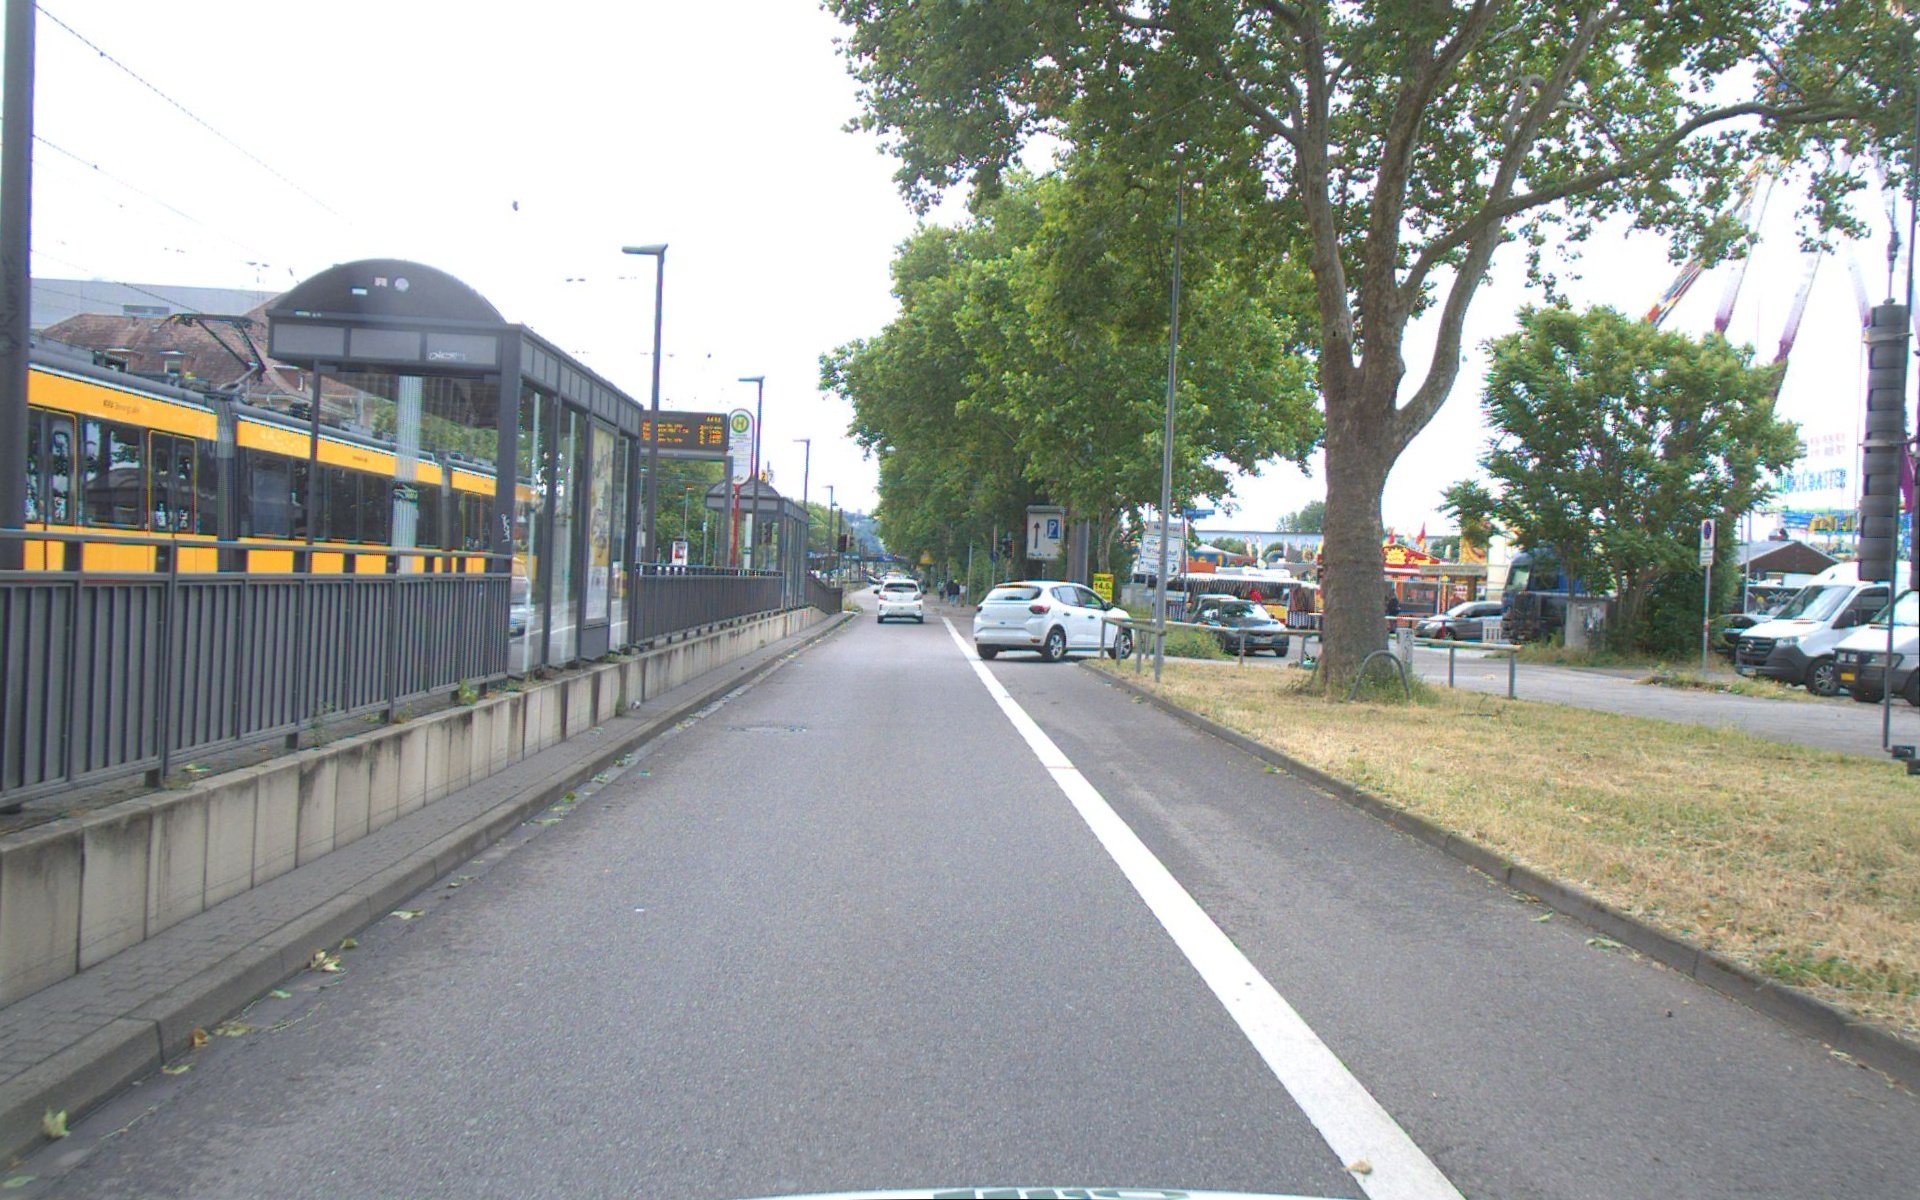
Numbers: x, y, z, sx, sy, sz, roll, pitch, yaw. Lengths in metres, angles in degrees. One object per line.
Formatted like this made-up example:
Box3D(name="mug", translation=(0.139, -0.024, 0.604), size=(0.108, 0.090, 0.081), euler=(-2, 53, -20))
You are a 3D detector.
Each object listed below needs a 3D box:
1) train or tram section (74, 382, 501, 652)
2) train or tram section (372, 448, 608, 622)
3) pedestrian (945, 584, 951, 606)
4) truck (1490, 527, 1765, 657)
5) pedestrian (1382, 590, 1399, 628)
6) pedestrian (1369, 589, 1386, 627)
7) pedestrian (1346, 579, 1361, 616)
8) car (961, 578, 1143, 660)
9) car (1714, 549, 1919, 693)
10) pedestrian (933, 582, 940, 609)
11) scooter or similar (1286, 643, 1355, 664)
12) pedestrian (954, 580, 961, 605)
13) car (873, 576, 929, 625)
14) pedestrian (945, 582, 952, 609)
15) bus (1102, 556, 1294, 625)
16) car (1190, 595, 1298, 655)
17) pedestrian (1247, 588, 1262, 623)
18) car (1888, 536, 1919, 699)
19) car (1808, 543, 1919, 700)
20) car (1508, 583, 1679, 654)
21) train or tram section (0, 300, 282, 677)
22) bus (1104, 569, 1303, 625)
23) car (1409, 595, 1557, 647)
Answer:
Box3D(name="train or tram section", translation=(-12.926, -1.373, 34.168), size=(3.116, 4.251, 14.728), euler=(2, 0, -2))
Box3D(name="train or tram section", translation=(-13.371, -1.669, 48.926), size=(3.116, 4.251, 14.728), euler=(2, 0, -2))
Box3D(name="pedestrian", translation=(-0.784, -0.319, 109.069), size=(0.388, 1.469, 0.563), euler=(2, 0, 0))
Box3D(name="truck", translation=(22.064, -0.247, 54.866), size=(8.028, 3.889, 2.598), euler=(2, 0, -4))
Box3D(name="pedestrian", translation=(19.548, 0.401, 75.071), size=(0.514, 1.716, 0.491), euler=(2, 0, -19))
Box3D(name="pedestrian", translation=(18.836, 0.366, 74.651), size=(0.514, 1.716, 0.491), euler=(2, 0, -19))
Box3D(name="pedestrian", translation=(18.509, -0.116, 77.828), size=(0.483, 1.716, 0.523), euler=(2, 0, -5))
Box3D(name="car", translation=(1.891, 0.388, 32.899), size=(1.852, 1.478, 3.989), euler=(2, 0, 33))
Box3D(name="car", translation=(18.133, 0.445, 32.240), size=(5.904, 2.600, 2.098), euler=(2, 0, -4))
Box3D(name="pedestrian", translation=(-1.754, -0.353, 124.697), size=(0.387, 2.049, 0.403), euler=(2, 0, 13))
Box3D(name="scooter or similar", translation=(7.251, 1.073, 33.235), size=(1.153, 0.355, 1.331), euler=(1, 0, 22))
Box3D(name="pedestrian", translation=(-0.145, -0.510, 109.079), size=(0.388, 1.613, 0.538), euler=(2, 0, -2))
Box3D(name="car", translation=(-2.030, -0.005, 57.675), size=(1.803, 1.579, 3.999), euler=(2, 1, -1))
Box3D(name="pedestrian", translation=(-0.879, -0.324, 124.465), size=(0.387, 2.049, 0.403), euler=(2, 0, 13))
Box3D(name="bus", translation=(11.712, -0.447, 81.708), size=(9.096, 3.011, 1.998), euler=(2, 0, -5))
Box3D(name="car", translation=(7.661, 0.646, 45.006), size=(1.827, 1.455, 3.995), euler=(2, 0, -6))
Box3D(name="pedestrian", translation=(12.868, 0.234, 72.340), size=(0.483, 1.488, 0.523), euler=(2, 0, -5))
Box3D(name="car", translation=(17.931, 0.492, 25.690), size=(5.668, 2.565, 2.171), euler=(4, 1, 0))
Box3D(name="car", translation=(18.225, 0.544, 28.904), size=(5.671, 2.579, 2.039), euler=(4, 0, -3))
Box3D(name="car", translation=(19.600, 0.553, 51.272), size=(4.483, 2.048, 1.999), euler=(1, 1, -4))
Box3D(name="train or tram section", translation=(-12.430, -1.309, 19.494), size=(3.116, 4.251, 14.728), euler=(2, 0, -2))
Box3D(name="bus", translation=(11.524, -0.157, 78.594), size=(9.096, 2.266, 1.998), euler=(2, 0, -5))
Box3D(name="car", translation=(18.251, 0.713, 57.794), size=(4.483, 1.603, 1.999), euler=(2, 0, -4))
